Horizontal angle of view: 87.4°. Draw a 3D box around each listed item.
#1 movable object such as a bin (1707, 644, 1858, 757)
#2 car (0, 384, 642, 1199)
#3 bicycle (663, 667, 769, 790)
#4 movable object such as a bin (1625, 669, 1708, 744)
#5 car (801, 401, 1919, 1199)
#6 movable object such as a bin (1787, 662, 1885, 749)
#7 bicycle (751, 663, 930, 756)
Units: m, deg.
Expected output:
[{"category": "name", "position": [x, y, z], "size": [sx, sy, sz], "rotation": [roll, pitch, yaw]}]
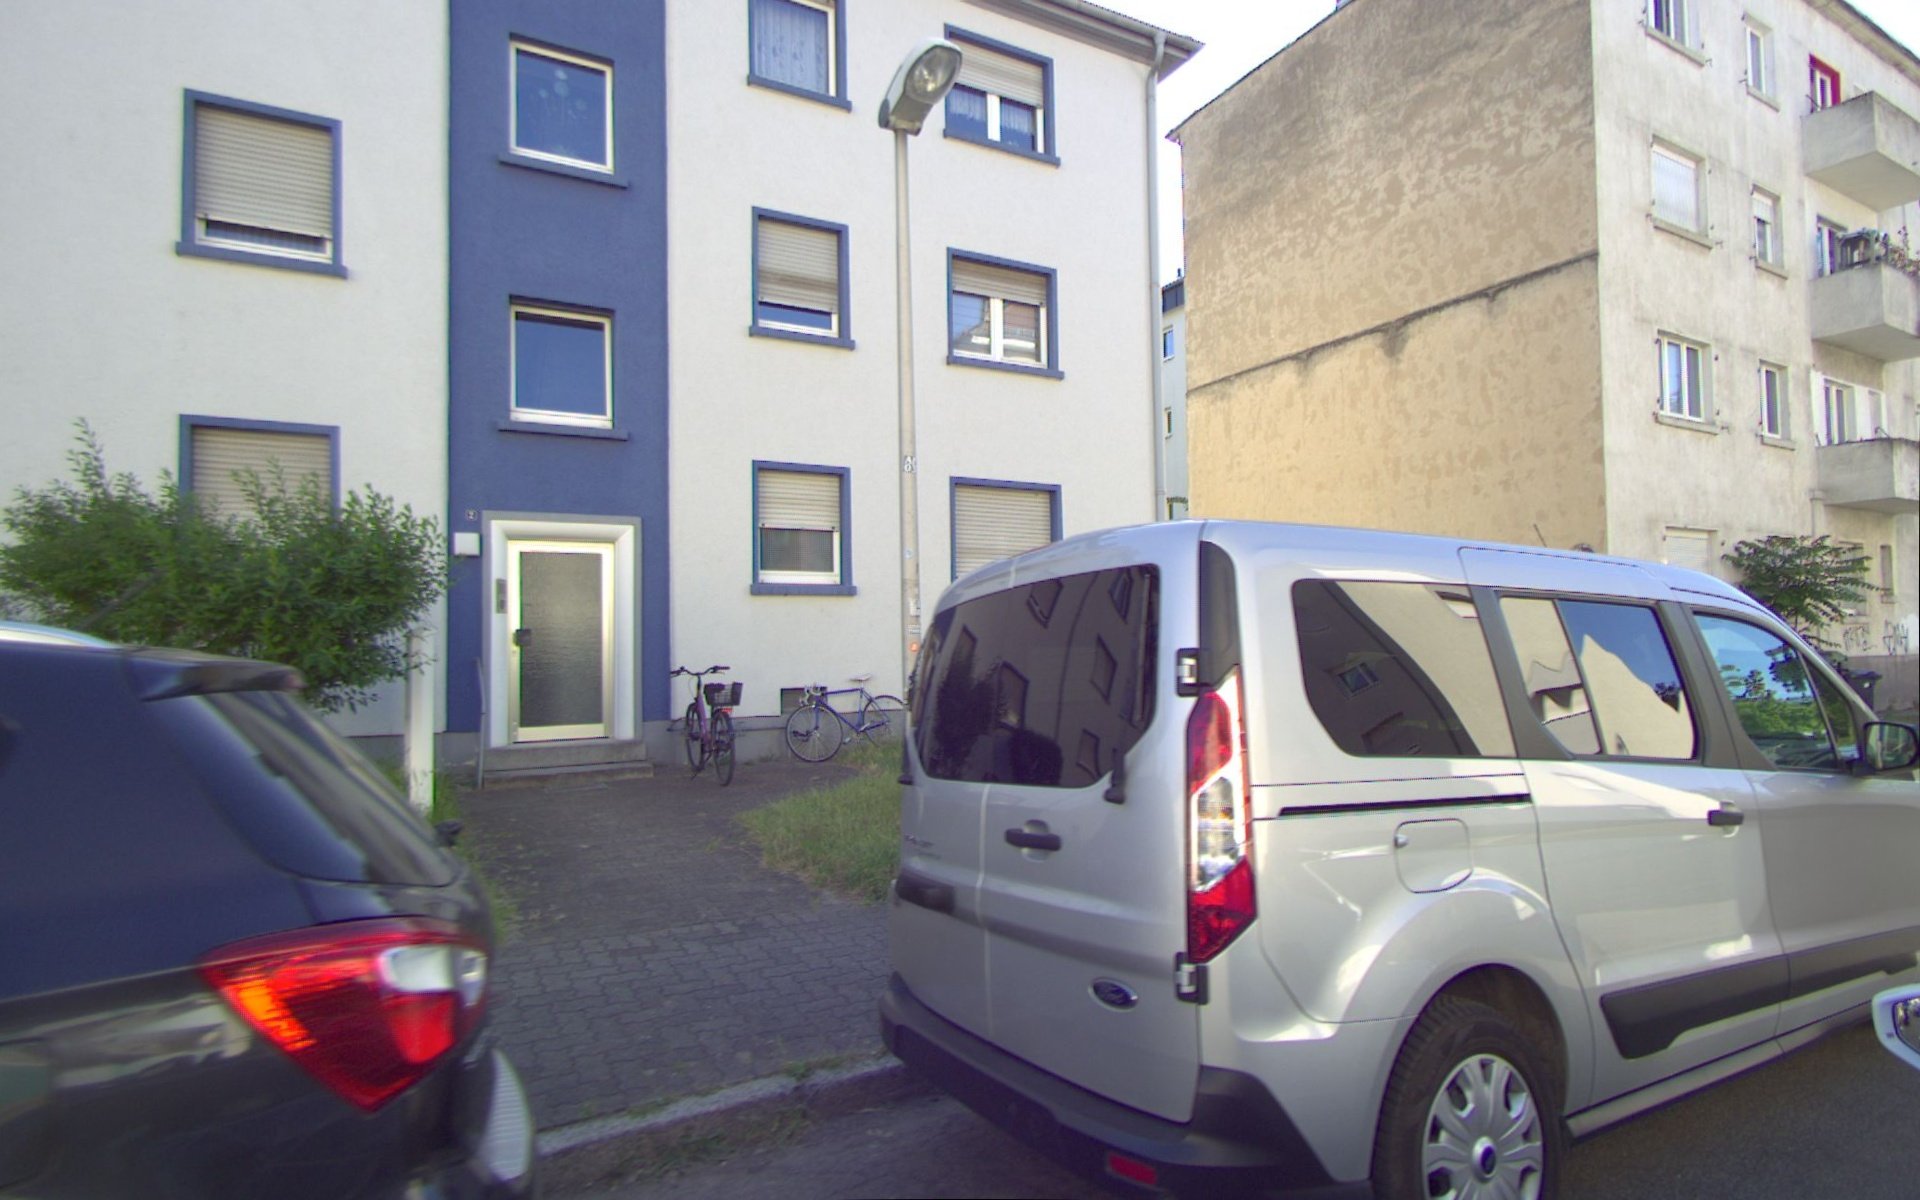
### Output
[{"category": "movable object such as a bin", "position": [10.878, 1.281, 13.311], "size": [1.033, 1.395, 1.250], "rotation": [1, -2, -30]}, {"category": "car", "position": [-2.618, 0.631, 1.045], "size": [4.116, 1.611, 1.666], "rotation": [1, -7, -31]}, {"category": "bicycle", "position": [-2.507, 1.232, 10.146], "size": [0.494, 0.974, 2.058], "rotation": [1, 0, -29]}, {"category": "movable object such as a bin", "position": [9.971, 1.482, 14.184], "size": [0.584, 0.987, 0.769], "rotation": [1, -2, -30]}, {"category": "car", "position": [2.045, 0.701, 3.726], "size": [4.890, 1.853, 1.793], "rotation": [1, -6, -30]}, {"category": "movable object such as a bin", "position": [11.843, 1.403, 13.592], "size": [0.807, 1.093, 0.769], "rotation": [1, -2, -30]}, {"category": "bicycle", "position": [-1.379, 1.253, 11.804], "size": [2.049, 0.974, 0.497], "rotation": [1, 0, -30]}]
